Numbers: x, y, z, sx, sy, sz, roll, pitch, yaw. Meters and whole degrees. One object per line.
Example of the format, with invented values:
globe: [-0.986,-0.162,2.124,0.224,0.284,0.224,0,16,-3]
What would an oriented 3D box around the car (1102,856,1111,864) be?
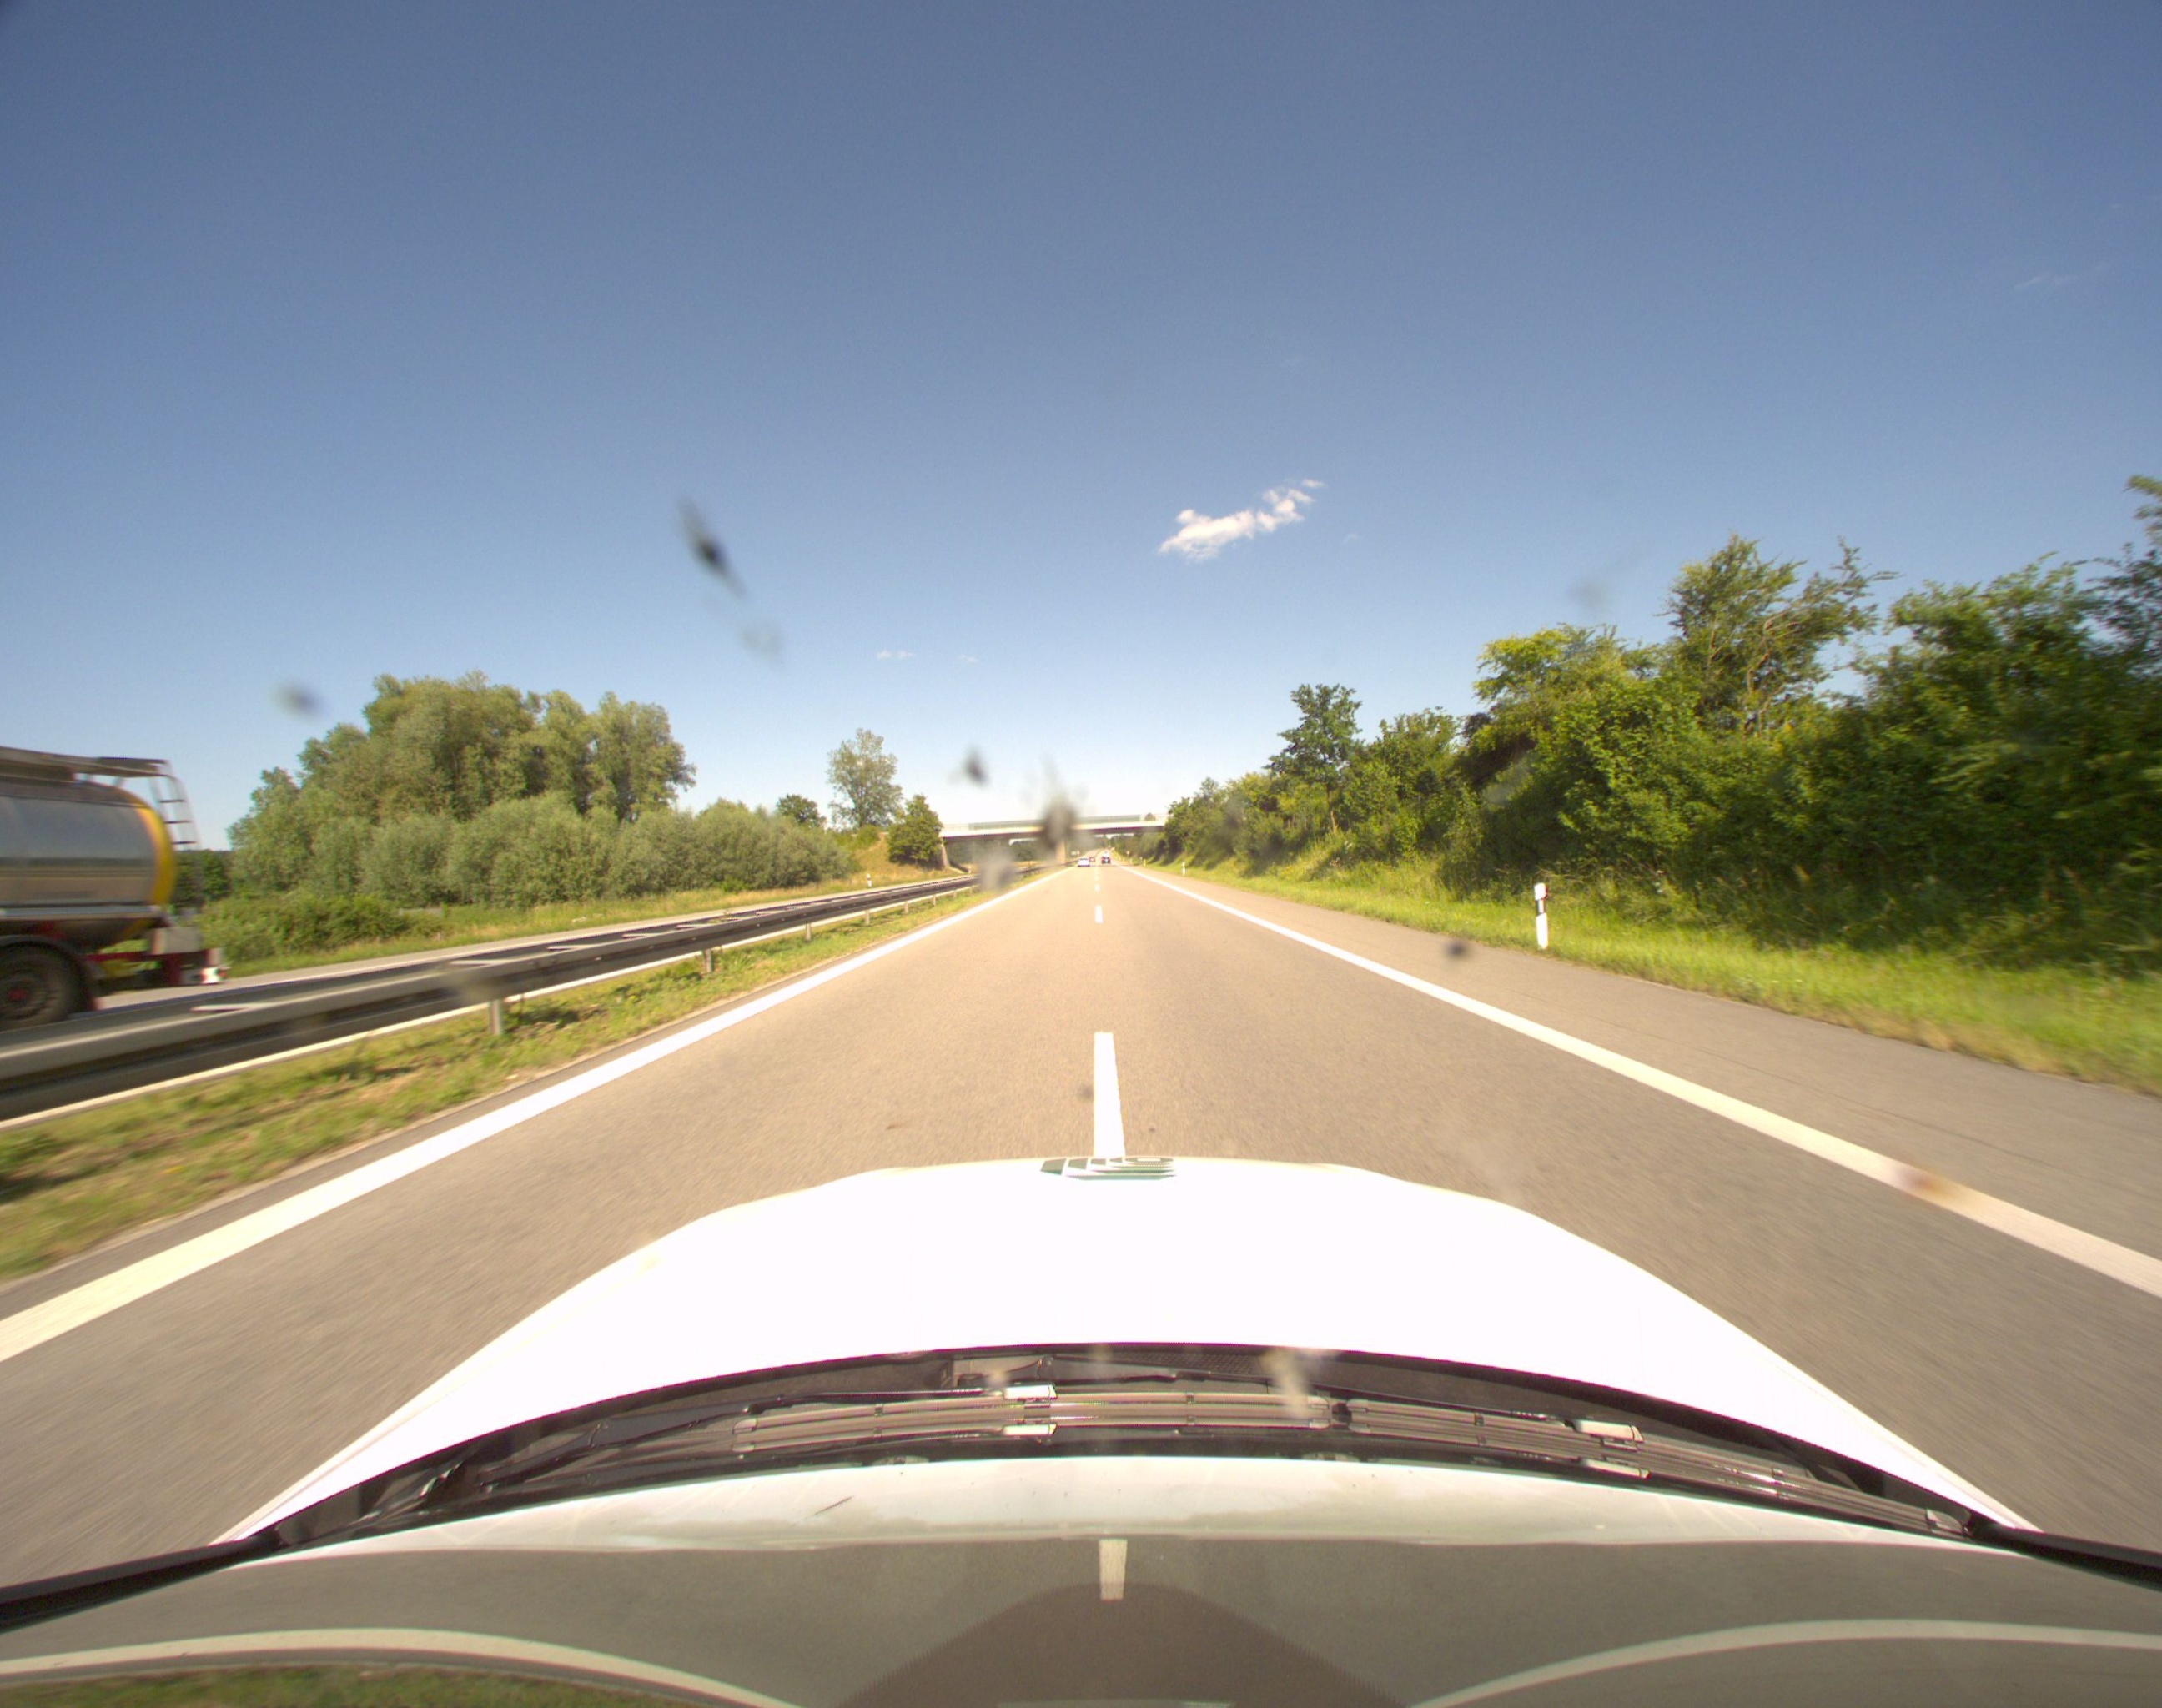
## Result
car: [5.113,1.223,164.726,1.836,1.520,4.000,0,0,1]

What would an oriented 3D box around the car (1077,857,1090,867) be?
car: [0.369,1.235,122.475,1.836,1.415,4.000,0,0,1]

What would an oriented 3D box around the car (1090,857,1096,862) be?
car: [3.415,1.520,228.616,1.836,1.436,4.000,0,0,1]

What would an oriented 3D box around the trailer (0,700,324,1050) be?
trailer: [-13.045,0.267,6.043,2.970,3.731,12.420,-3,-1,1]
